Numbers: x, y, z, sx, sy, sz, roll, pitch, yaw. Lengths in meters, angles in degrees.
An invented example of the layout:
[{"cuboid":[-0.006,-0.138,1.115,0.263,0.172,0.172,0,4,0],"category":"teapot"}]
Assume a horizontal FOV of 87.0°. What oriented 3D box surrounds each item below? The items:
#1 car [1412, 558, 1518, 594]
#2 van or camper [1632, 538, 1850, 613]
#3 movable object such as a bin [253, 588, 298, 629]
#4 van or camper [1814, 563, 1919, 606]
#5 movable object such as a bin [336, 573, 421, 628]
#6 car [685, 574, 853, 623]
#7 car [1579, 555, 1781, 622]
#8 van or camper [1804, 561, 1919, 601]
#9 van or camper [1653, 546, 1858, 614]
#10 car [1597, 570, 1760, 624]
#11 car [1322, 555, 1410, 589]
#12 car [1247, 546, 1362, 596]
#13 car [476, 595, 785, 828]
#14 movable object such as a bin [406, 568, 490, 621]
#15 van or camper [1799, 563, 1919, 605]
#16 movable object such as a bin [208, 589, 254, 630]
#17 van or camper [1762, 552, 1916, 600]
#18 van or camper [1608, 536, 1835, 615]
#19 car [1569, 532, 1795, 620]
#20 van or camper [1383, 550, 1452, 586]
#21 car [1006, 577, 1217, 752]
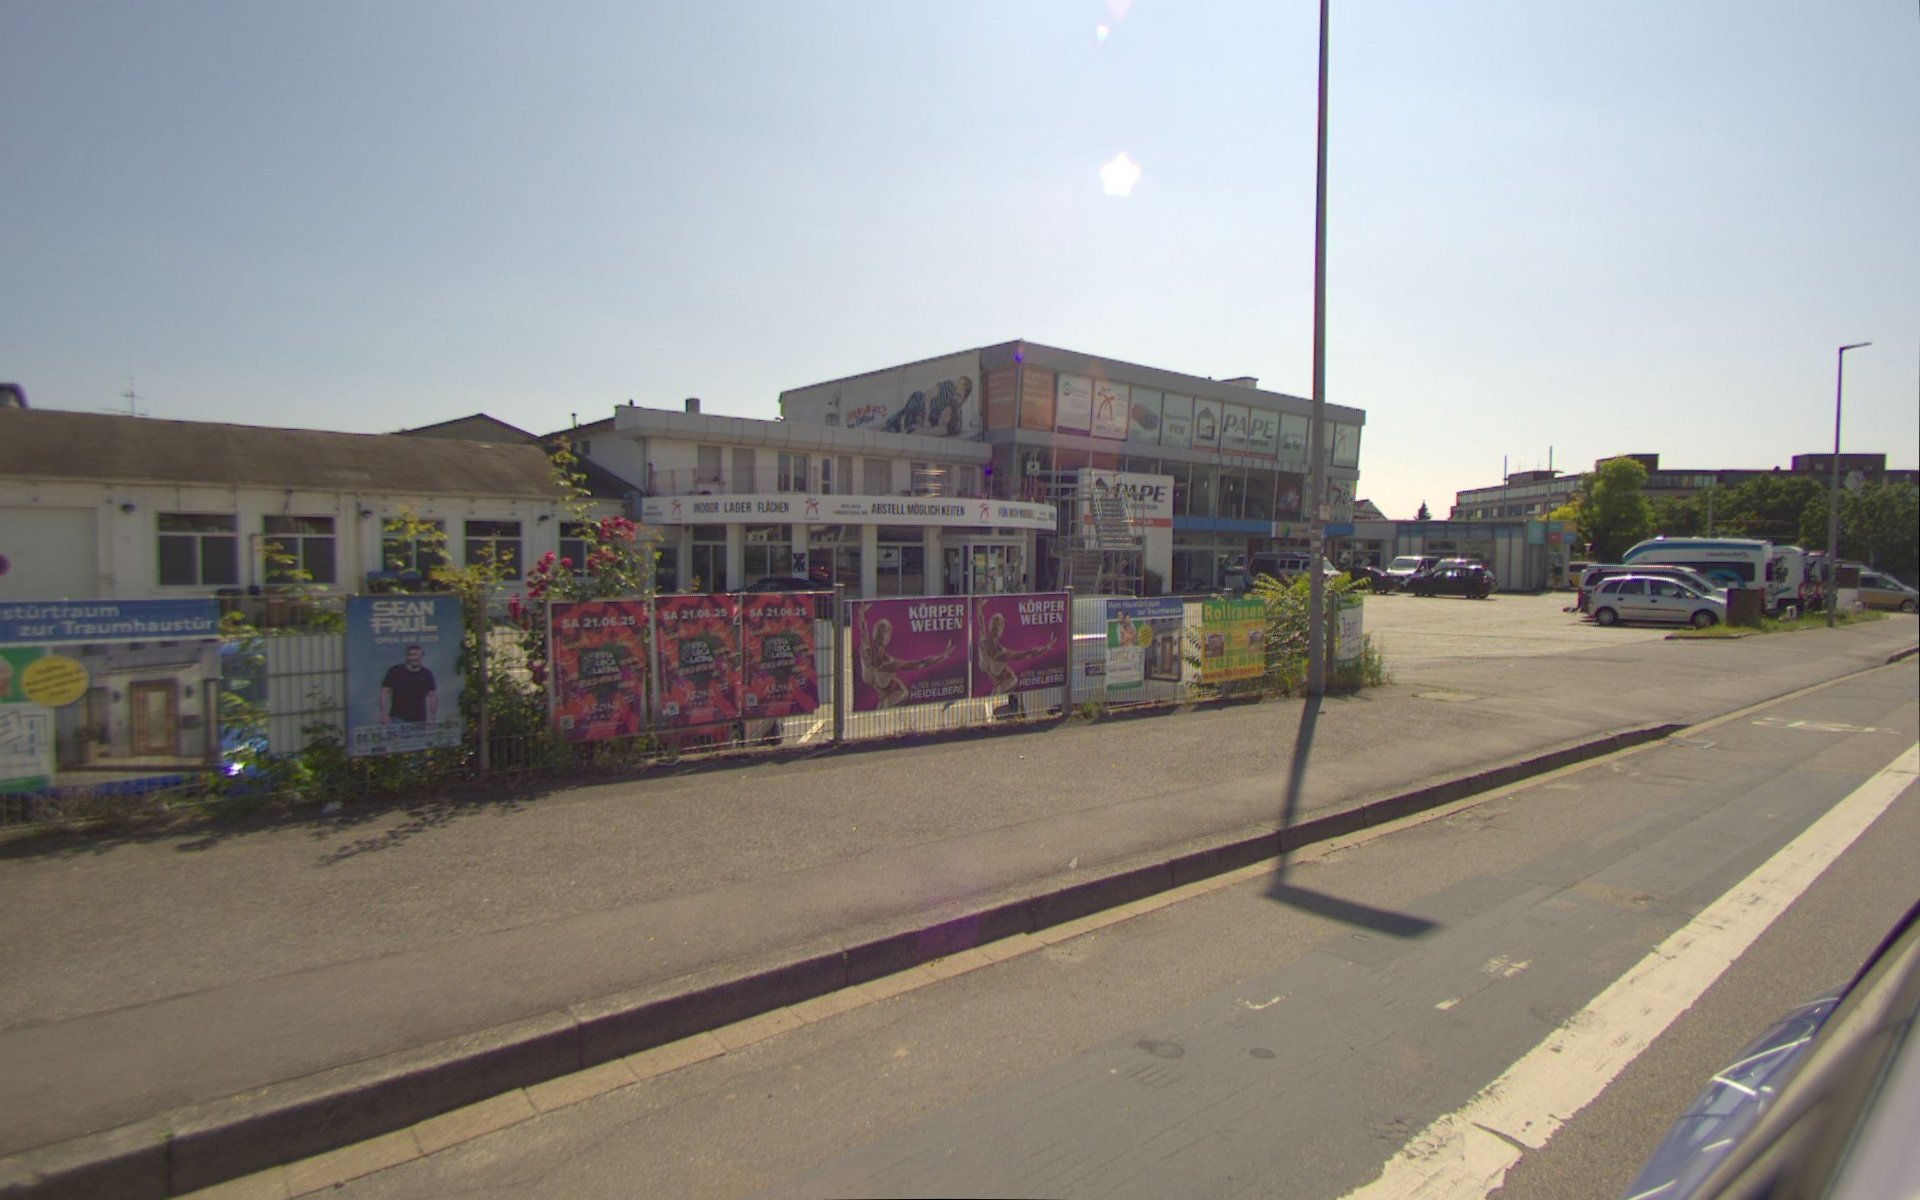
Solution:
[{"cuboid":[26.279,-1.281,52.753,1.967,1.698,4.542,-1,3,-44],"category":"car"},{"cuboid":[30.703,-1.044,40.000,2.665,2.749,6.363,-1,3,-40],"category":"van or camper"},{"cuboid":[-18.246,0.207,26.980,0.746,1.049,0.862,2,2,45],"category":"movable object such as a bin"},{"cuboid":[47.772,-0.788,52.299,5.072,1.985,1.975,3,4,20],"category":"van or camper"},{"cuboid":[-16.153,-0.015,28.113,1.571,1.473,1.727,2,2,45],"category":"movable object such as a bin"},{"cuboid":[-5.563,-0.060,29.716,4.482,1.306,1.889,-1,1,11],"category":"car"},{"cuboid":[24.442,-0.459,34.543,1.965,1.975,5.246,-1,4,-40],"category":"car"},{"cuboid":[51.265,-1.106,57.002,5.071,2.101,2.439,2,2,18],"category":"van or camper"},{"cuboid":[32.644,-0.900,41.739,2.573,2.555,6.209,-1,3,-40],"category":"van or camper"},{"cuboid":[22.745,-0.117,32.148,1.767,1.613,3.928,-1,1,-41],"category":"car"},{"cuboid":[22.665,-1.595,56.566,1.967,1.754,4.109,-1,3,-44],"category":"car"},{"cuboid":[18.096,-1.581,53.391,2.285,2.448,5.308,-1,3,-40],"category":"car"},{"cuboid":[-2.779,0.822,9.439,1.856,1.636,3.834,0,2,-4],"category":"car"},{"cuboid":[-14.874,-0.186,29.384,1.571,1.473,1.796,2,2,45],"category":"movable object such as a bin"},{"cuboid":[48.861,-0.904,54.683,4.920,2.070,2.030,2,3,20],"category":"van or camper"},{"cuboid":[-18.953,0.240,26.312,0.746,1.004,0.862,2,2,45],"category":"movable object such as a bin"},{"cuboid":[51.862,-1.471,59.877,6.269,2.669,2.523,2,2,14],"category":"van or camper"},{"cuboid":[28.569,-0.990,38.201,2.665,2.733,6.363,-1,3,-40],"category":"van or camper"},{"cuboid":[25.946,-0.944,36.634,2.279,2.904,6.242,-1,3,-40],"category":"car"},{"cuboid":[27.060,-1.872,59.783,2.118,2.038,5.035,3,3,43],"category":"van or camper"},{"cuboid":[1.683,0.619,13.053,1.986,1.641,5.046,-4,1,2],"category":"car"}]
